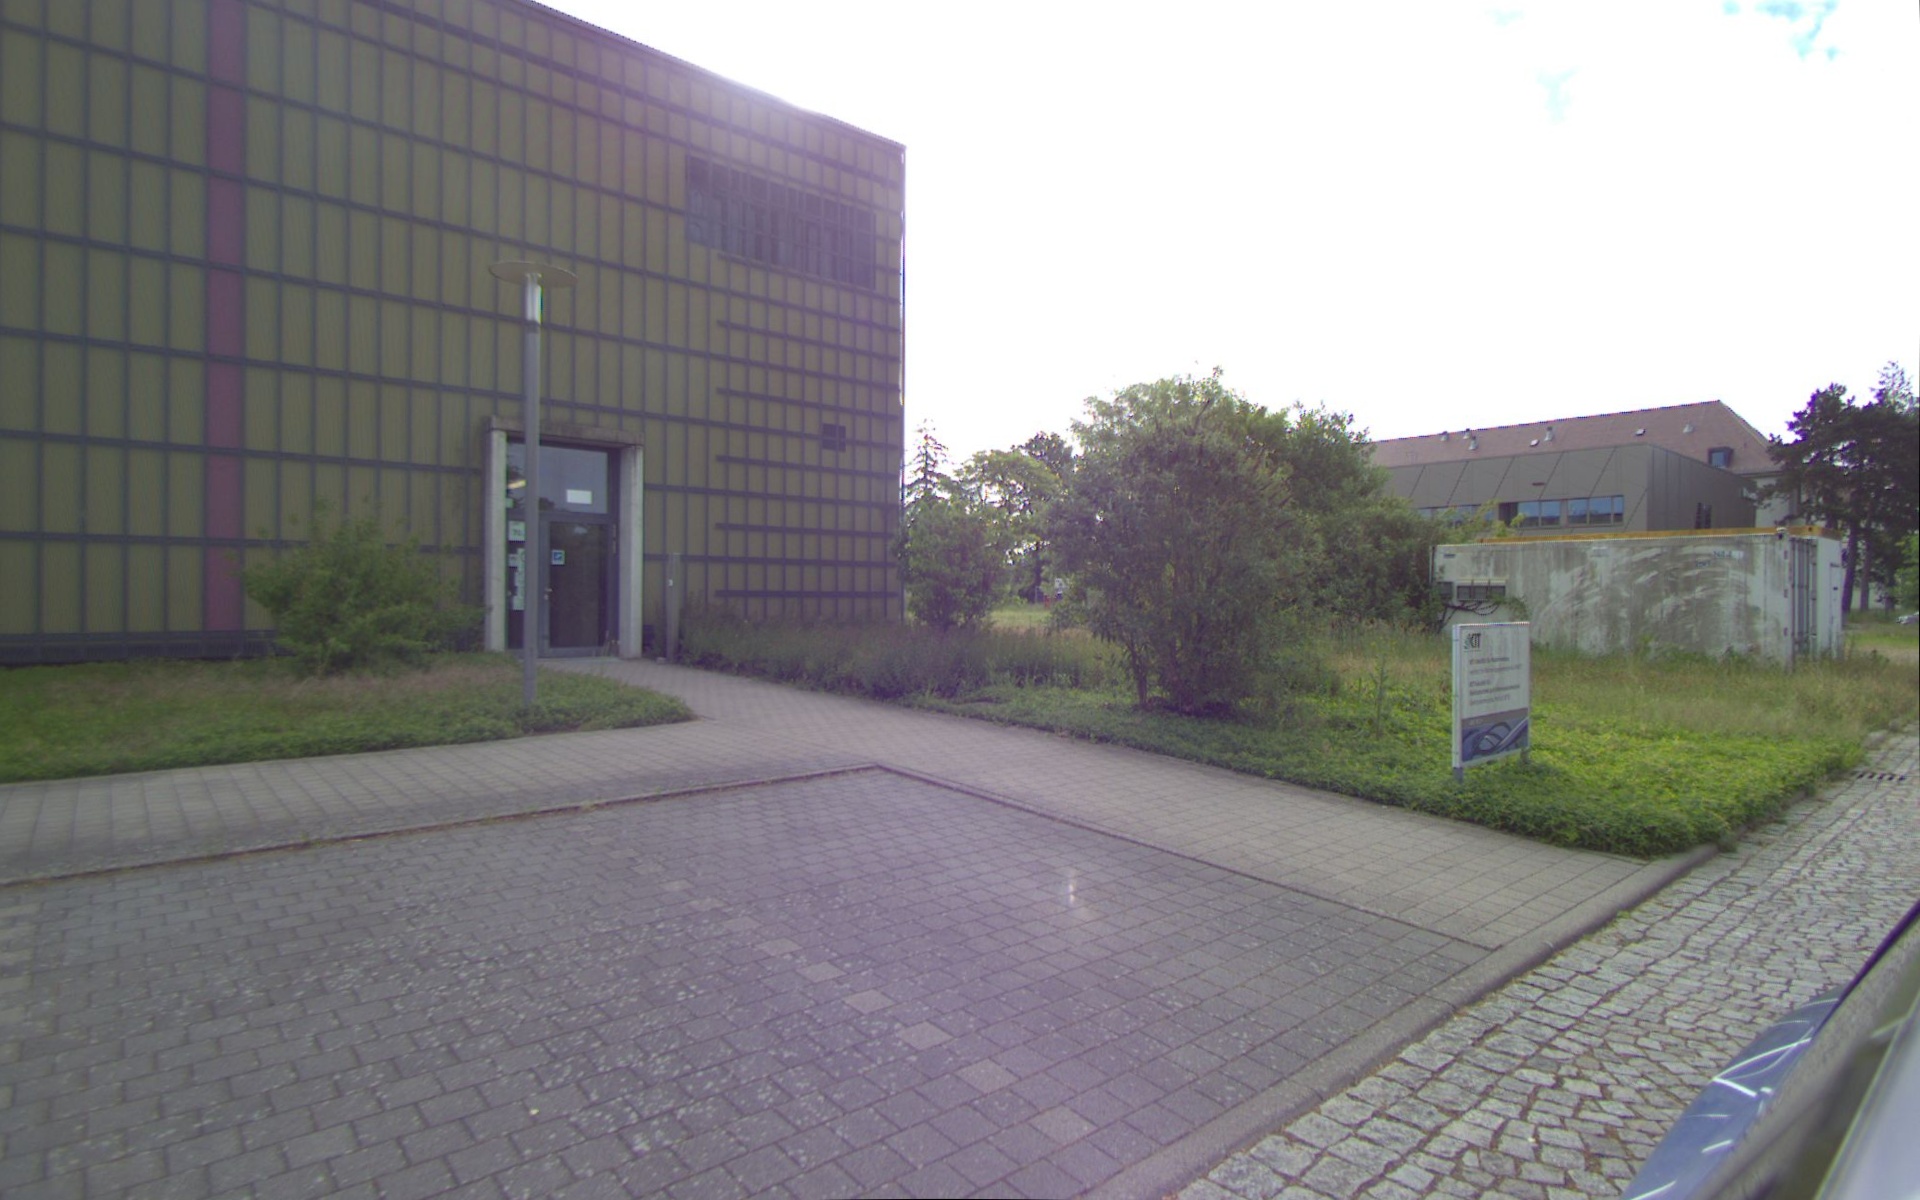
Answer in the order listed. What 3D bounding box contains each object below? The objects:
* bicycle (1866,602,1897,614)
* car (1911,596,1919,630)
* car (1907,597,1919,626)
[{"bbox_3d":[88.517,0.754,97.182,0.705,1.109,2.160,0,0,-44],"label":"bicycle"},{"bbox_3d":[46.451,0.682,47.272,1.653,1.601,2.747,1,2,-40],"label":"car"},{"bbox_3d":[51.854,0.700,51.972,1.899,1.468,4.532,0,2,-42],"label":"car"}]
